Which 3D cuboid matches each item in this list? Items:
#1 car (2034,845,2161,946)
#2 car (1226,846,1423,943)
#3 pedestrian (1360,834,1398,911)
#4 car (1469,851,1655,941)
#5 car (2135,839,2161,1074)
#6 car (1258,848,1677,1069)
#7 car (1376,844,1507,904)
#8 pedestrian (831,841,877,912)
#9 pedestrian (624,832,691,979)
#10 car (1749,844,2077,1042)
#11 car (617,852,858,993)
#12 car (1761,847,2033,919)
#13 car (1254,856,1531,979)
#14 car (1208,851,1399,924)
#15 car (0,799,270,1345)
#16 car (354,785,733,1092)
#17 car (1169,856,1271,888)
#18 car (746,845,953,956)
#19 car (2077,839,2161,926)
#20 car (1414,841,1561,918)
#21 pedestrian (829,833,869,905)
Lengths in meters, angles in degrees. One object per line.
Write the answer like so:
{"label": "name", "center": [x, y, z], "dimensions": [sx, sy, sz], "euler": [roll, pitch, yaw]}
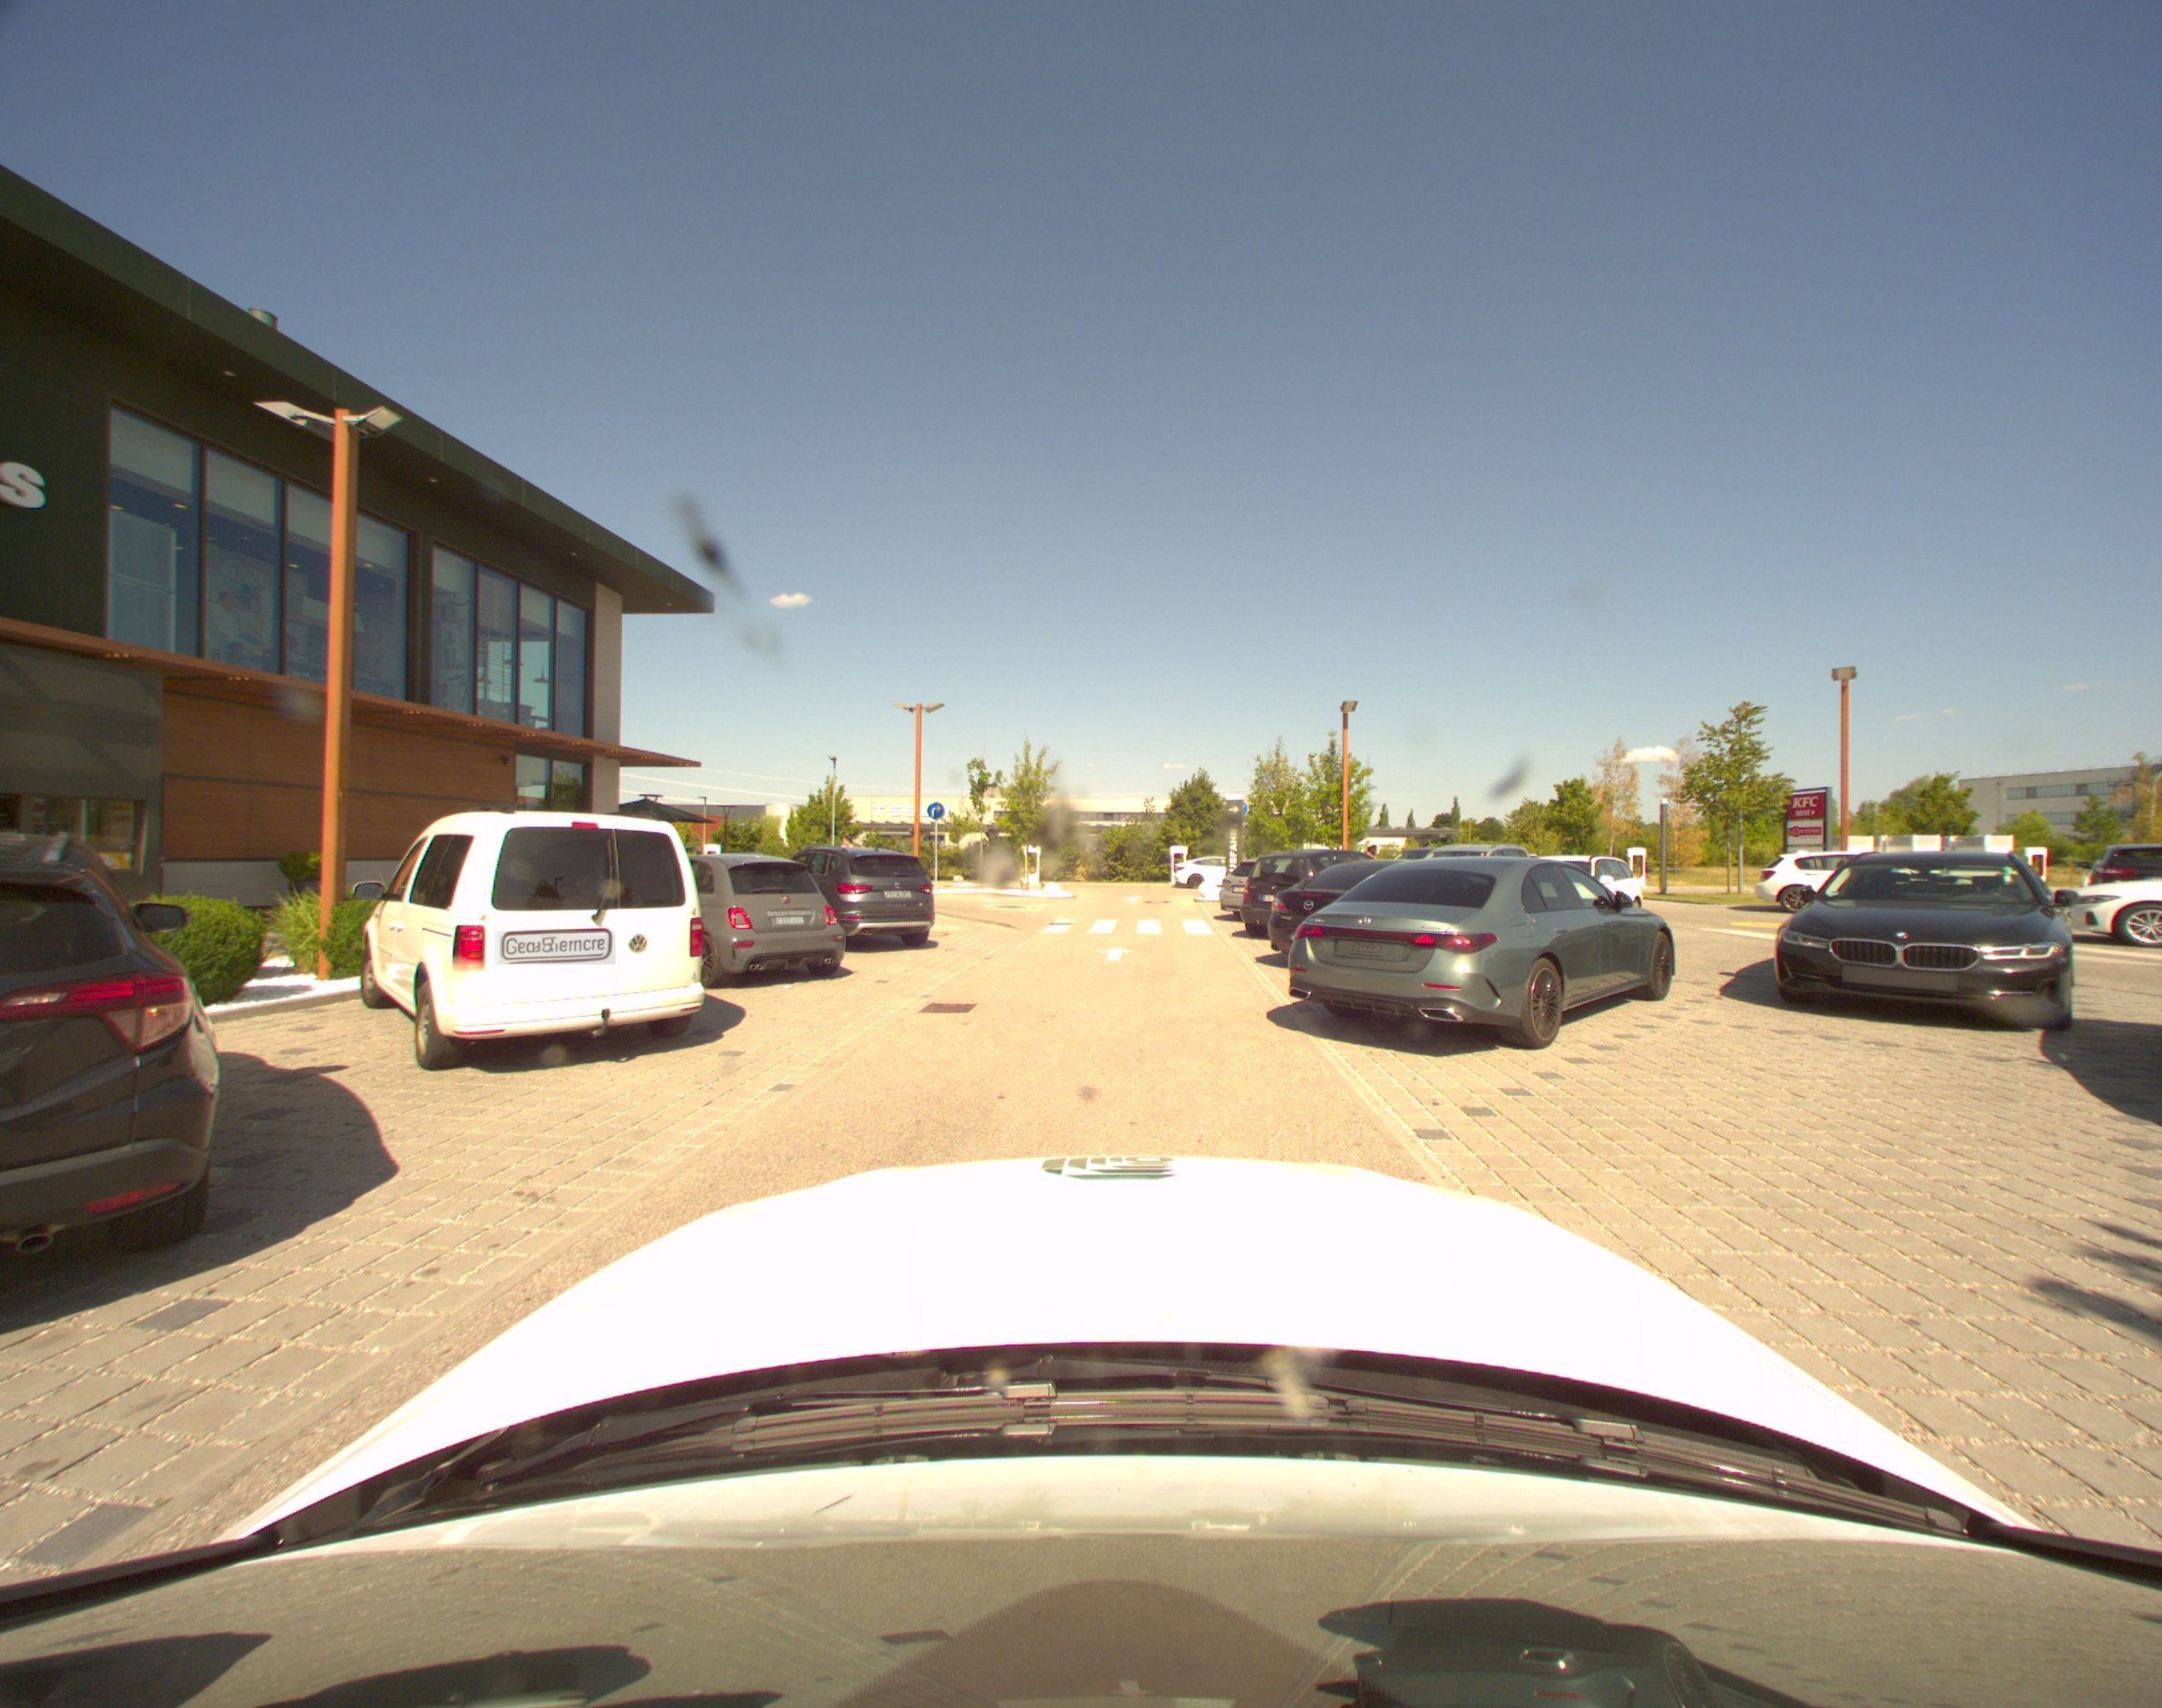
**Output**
{"label": "car", "center": [17.173, 0.604, 11.662], "dimensions": [4.416, 1.471, 1.925], "euler": [0, 0, 45]}
{"label": "car", "center": [4.693, 0.668, 15.416], "dimensions": [4.022, 1.593, 1.790], "euler": [0, 0, -43]}
{"label": "pedestrian", "center": [6.739, 0.407, 18.429], "dimensions": [0.565, 1.713, 0.604], "euler": [0, 0, -33]}
{"label": "car", "center": [9.020, 0.673, 15.136], "dimensions": [4.104, 1.408, 1.772], "euler": [-1, 0, -41]}
{"label": "car", "center": [7.829, 0.662, 4.696], "dimensions": [4.439, 1.511, 1.961], "euler": [0, 0, -40]}
{"label": "car", "center": [3.868, 0.715, 7.744], "dimensions": [4.565, 1.511, 1.865], "euler": [0, 0, -40]}
{"label": "car", "center": [10.286, 0.503, 23.110], "dimensions": [4.214, 1.537, 1.873], "euler": [-1, 1, -42]}
{"label": "pedestrian", "center": [-5.184, 0.509, 18.639], "dimensions": [0.721, 1.583, 0.744], "euler": [0, 0, 14]}
{"label": "pedestrian", "center": [-5.025, 0.588, 9.664], "dimensions": [0.616, 1.685, 0.438], "euler": [0, 0, -41]}
{"label": "car", "center": [8.672, 0.680, 8.392], "dimensions": [4.439, 1.511, 1.961], "euler": [0, 0, -40]}
{"label": "car", "center": [-4.467, 0.725, 10.382], "dimensions": [3.372, 1.482, 1.577], "euler": [0, 0, 43]}
{"label": "car", "center": [18.028, 0.567, 18.232], "dimensions": [1.855, 1.425, 4.134], "euler": [0, 0, -44]}
{"label": "car", "center": [4.502, 0.748, 11.523], "dimensions": [4.095, 1.449, 1.808], "euler": [0, 0, -38]}
{"label": "car", "center": [5.242, 0.686, 18.887], "dimensions": [4.685, 1.447, 1.815], "euler": [-1, 0, -38]}
{"label": "car", "center": [-4.953, 0.650, 3.284], "dimensions": [3.795, 1.632, 1.769], "euler": [0, 0, 36]}
{"label": "car", "center": [-4.860, 0.530, 7.124], "dimensions": [4.092, 1.921, 1.769], "euler": [0, 0, 42]}
{"label": "car", "center": [6.181, 0.791, 36.553], "dimensions": [4.410, 1.377, 1.826], "euler": [0, 0, 7]}
{"label": "car", "center": [-4.074, 0.670, 13.896], "dimensions": [1.800, 1.603, 4.177], "euler": [0, 0, -41]}
{"label": "car", "center": [21.247, 0.527, 16.225], "dimensions": [4.107, 1.576, 1.737], "euler": [0, 0, -40]}
{"label": "car", "center": [9.670, 0.522, 19.236], "dimensions": [4.089, 1.640, 1.727], "euler": [-1, 0, -42]}
{"label": "pedestrian", "center": [-5.828, 0.373, 20.498], "dimensions": [0.799, 1.768, 0.895], "euler": [0, 0, -4]}
